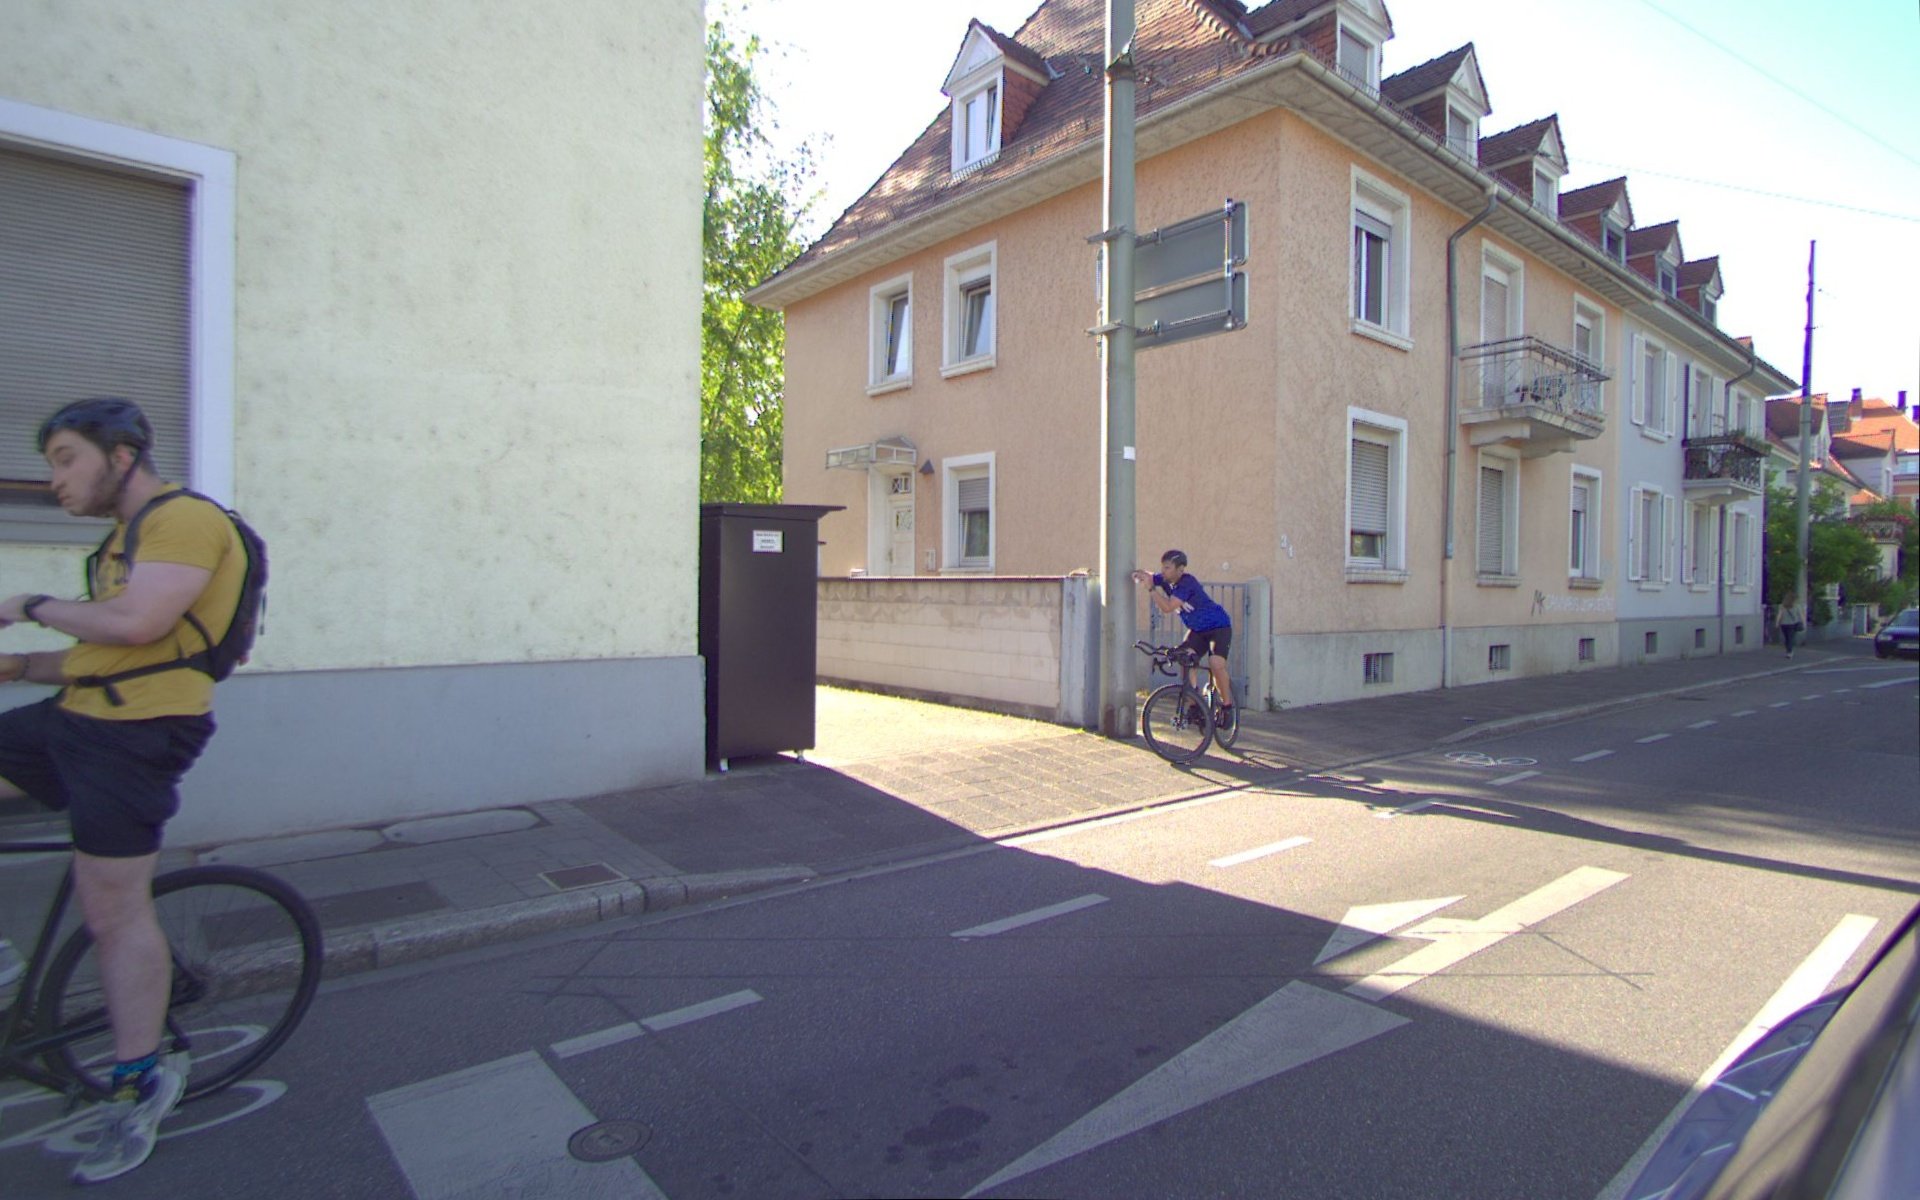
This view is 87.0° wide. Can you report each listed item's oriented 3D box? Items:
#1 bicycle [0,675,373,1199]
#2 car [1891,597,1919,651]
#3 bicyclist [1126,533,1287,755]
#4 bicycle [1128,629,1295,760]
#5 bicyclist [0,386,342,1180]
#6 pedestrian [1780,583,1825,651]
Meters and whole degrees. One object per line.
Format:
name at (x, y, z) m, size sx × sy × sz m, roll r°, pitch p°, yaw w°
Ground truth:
bicycle at (-2.478, 0.841, 2.534) m, size 1.669 × 1.180 × 0.572 m, roll 0°, pitch 1°, yaw -41°
car at (26.697, 0.629, 27.342) m, size 3.796 × 1.382 × 1.648 m, roll 0°, pitch 1°, yaw -38°
bicyclist at (2.282, 0.358, 9.433) m, size 0.831 × 1.887 × 1.076 m, roll 0°, pitch 4°, yaw -40°
bicycle at (2.315, 0.815, 9.208) m, size 1.669 × 1.003 × 0.572 m, roll 0°, pitch 4°, yaw -41°
bicyclist at (-2.302, 0.418, 2.699) m, size 1.018 × 1.840 × 0.653 m, roll 0°, pitch 1°, yaw -41°
pedestrian at (21.106, 0.409, 25.345) m, size 1.079 × 1.682 × 0.694 m, roll 0°, pitch 0°, yaw -41°
